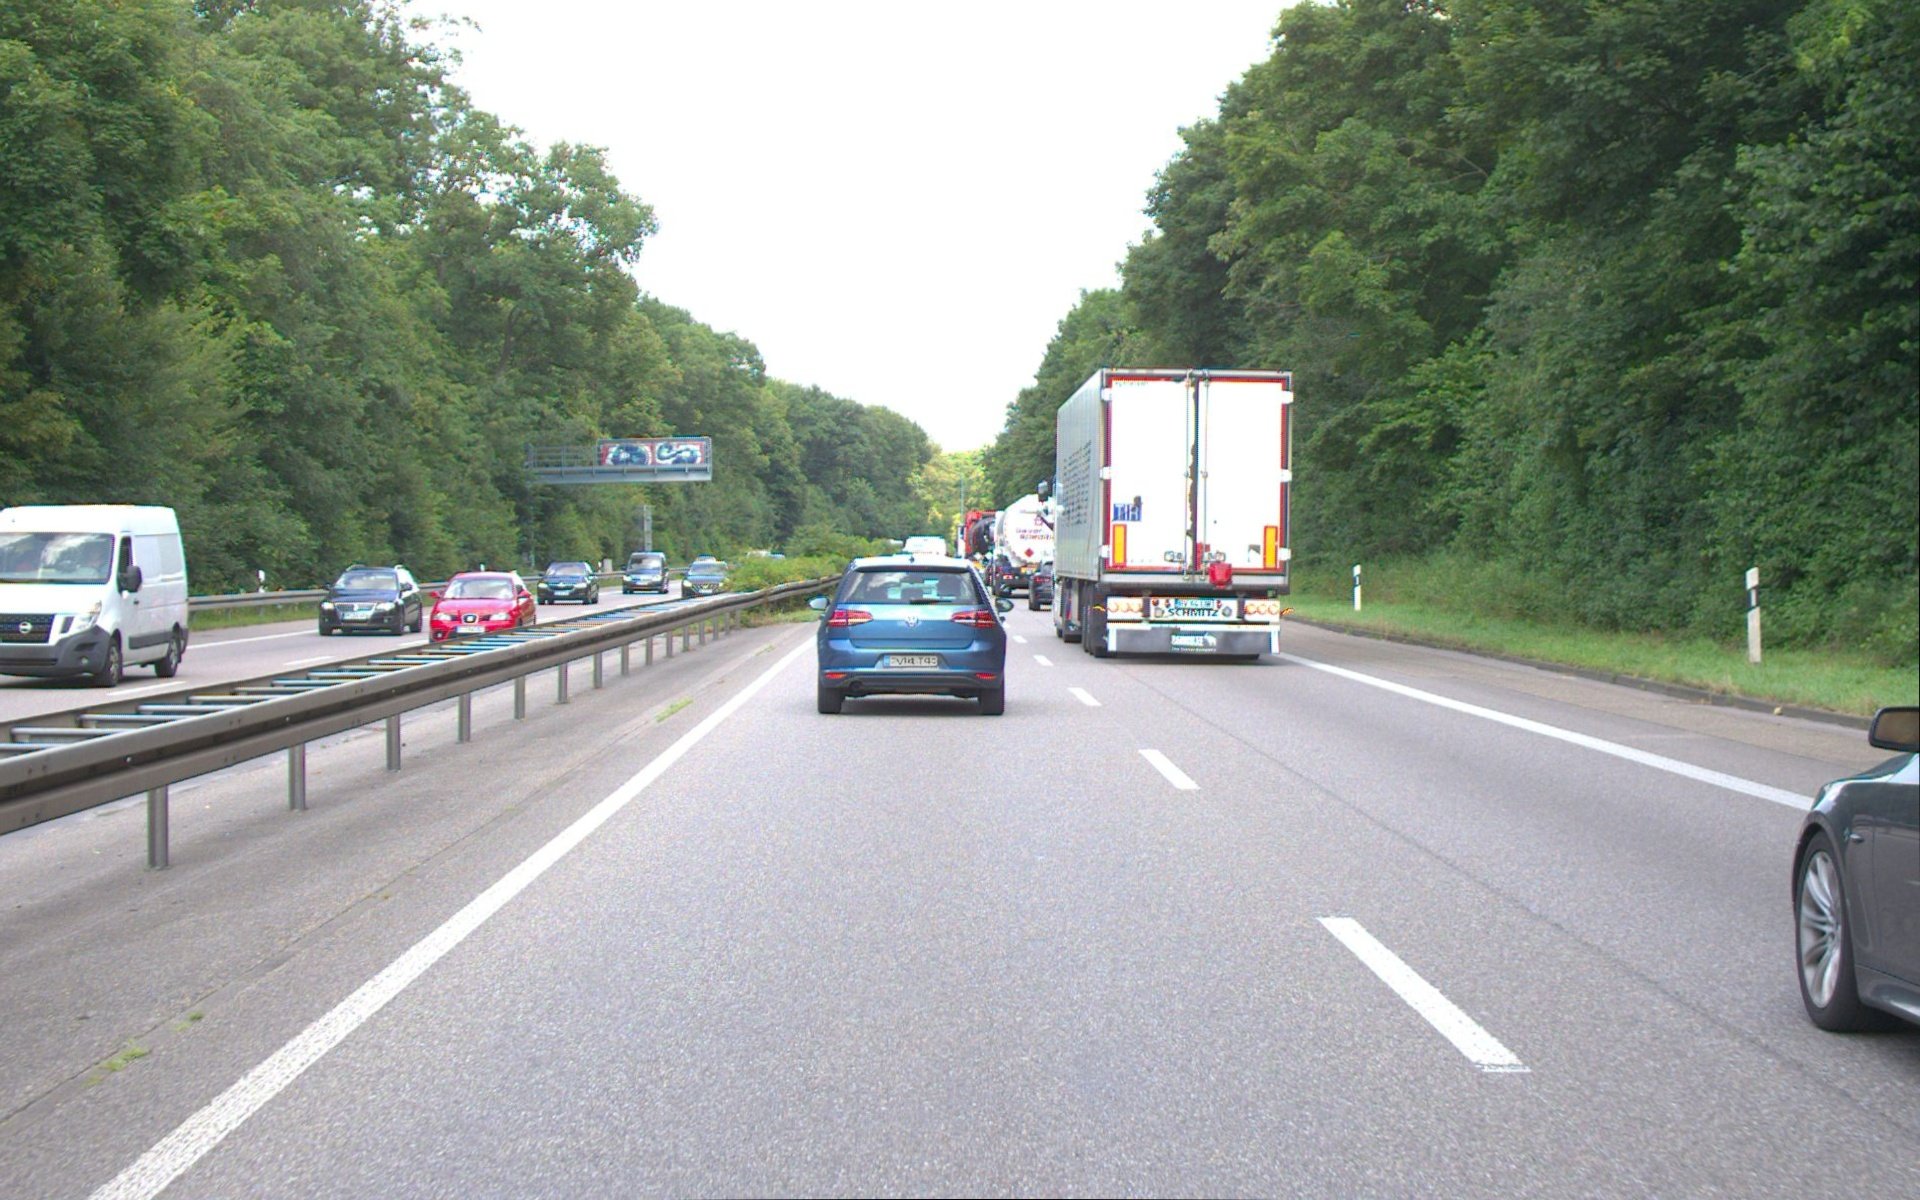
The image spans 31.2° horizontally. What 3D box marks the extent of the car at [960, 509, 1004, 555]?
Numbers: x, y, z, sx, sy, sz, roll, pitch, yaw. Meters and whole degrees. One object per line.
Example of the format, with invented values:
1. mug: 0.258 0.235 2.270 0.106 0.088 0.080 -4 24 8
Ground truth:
1. car: 1.108 -3.492 176.616 1.993 2.319 4.443 -1 1 -3

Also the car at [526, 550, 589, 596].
1. car: -13.953 -0.952 119.344 1.680 1.514 4.859 -1 1 -1

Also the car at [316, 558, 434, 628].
1. car: -12.930 -0.177 76.209 1.785 1.473 4.570 1 1 0

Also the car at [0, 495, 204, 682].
1. car: -12.164 -0.198 47.494 2.111 2.414 5.831 1 1 0

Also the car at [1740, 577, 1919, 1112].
1. car: 3.575 0.708 9.209 1.774 1.470 4.881 1 1 -1

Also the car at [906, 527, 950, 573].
1. car: -1.588 -2.497 171.499 1.993 2.247 4.443 -1 1 -3

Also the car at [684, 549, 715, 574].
1. car: -15.145 -2.240 199.985 1.537 1.391 3.511 -1 1 -1

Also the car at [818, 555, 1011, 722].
1. car: -0.440 0.316 32.708 1.705 1.465 4.000 1 1 -1

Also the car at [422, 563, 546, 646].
1. car: -8.781 0.065 63.653 1.678 1.449 4.128 1 1 0

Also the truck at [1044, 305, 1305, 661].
1. truck: 2.984 -1.665 51.239 3.242 4.700 11.007 -1 1 1

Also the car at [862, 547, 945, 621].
1. car: -1.163 -0.349 72.159 1.665 1.495 4.152 0 1 0

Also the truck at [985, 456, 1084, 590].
1. truck: 2.570 -2.555 118.963 3.232 4.371 12.970 0 0 1

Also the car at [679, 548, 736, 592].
1. car: -9.138 -1.102 124.626 1.781 1.514 4.266 -1 1 -1

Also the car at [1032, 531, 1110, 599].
1. car: 2.907 -0.933 90.619 1.888 1.723 4.000 -1 1 0

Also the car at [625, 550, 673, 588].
1. car: -13.517 -1.368 149.662 1.760 1.587 4.634 1 1 -1
